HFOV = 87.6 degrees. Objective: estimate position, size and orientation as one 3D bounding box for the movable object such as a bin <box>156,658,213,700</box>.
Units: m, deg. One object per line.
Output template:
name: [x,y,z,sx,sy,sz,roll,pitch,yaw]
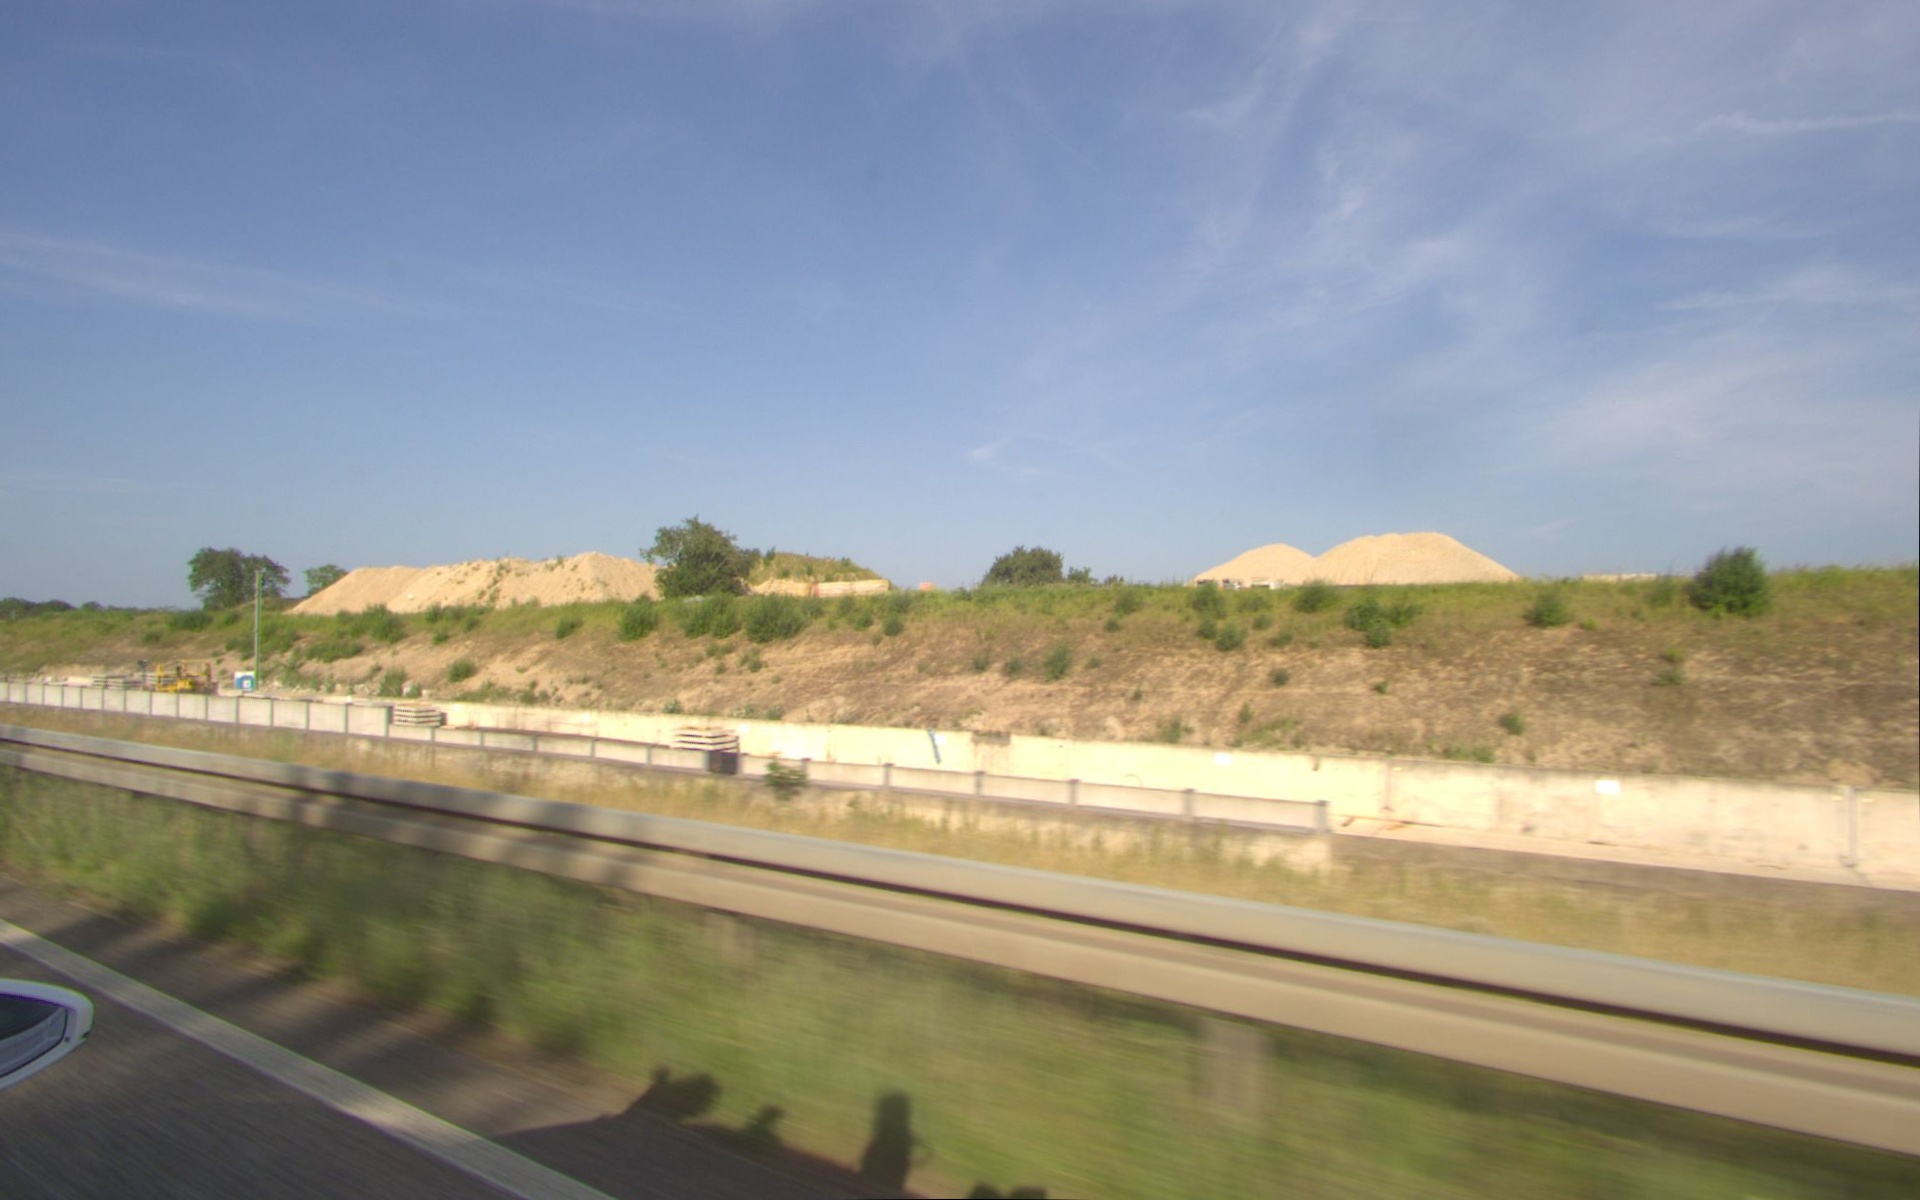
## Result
movable object such as a bin: [-53.079,5.385,68.571,2.875,2.695,2.007,1,-2,-34]
